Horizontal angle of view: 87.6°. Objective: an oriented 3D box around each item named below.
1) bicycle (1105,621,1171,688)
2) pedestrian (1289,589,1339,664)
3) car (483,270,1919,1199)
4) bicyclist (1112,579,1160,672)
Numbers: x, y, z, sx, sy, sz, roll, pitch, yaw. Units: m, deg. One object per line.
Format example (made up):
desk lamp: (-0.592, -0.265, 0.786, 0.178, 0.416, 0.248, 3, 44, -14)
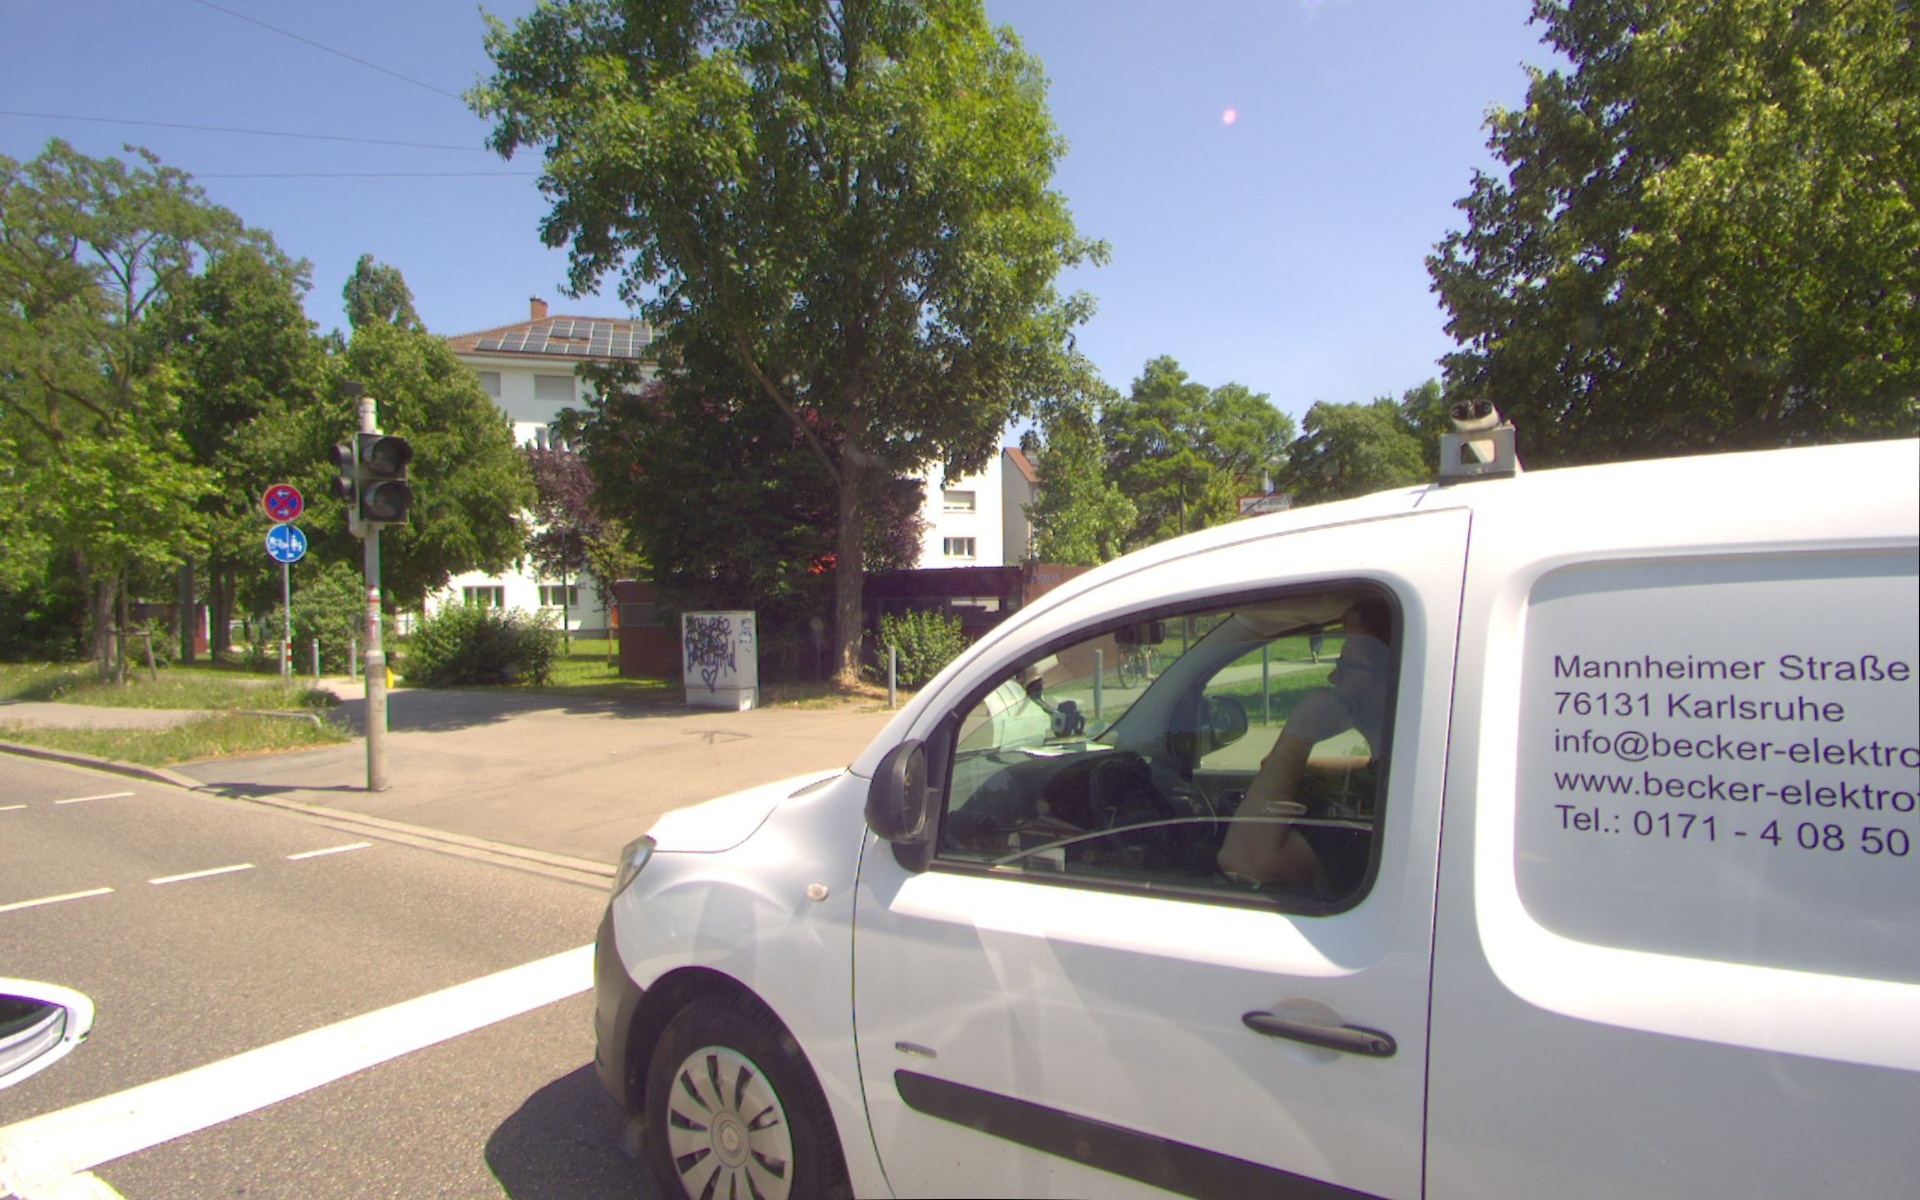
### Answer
bicycle: (3.360, 0.988, 18.737, 0.533, 1.176, 1.954, 0, -1, 32)
pedestrian: (8.847, 0.656, 25.041, 0.829, 1.801, 1.180, -2, 1, 36)
car: (1.121, 0.566, 2.305, 4.384, 1.850, 1.990, -1, 0, 32)
bicyclist: (3.285, 0.471, 18.657, 0.572, 1.689, 0.955, 0, 0, 32)
